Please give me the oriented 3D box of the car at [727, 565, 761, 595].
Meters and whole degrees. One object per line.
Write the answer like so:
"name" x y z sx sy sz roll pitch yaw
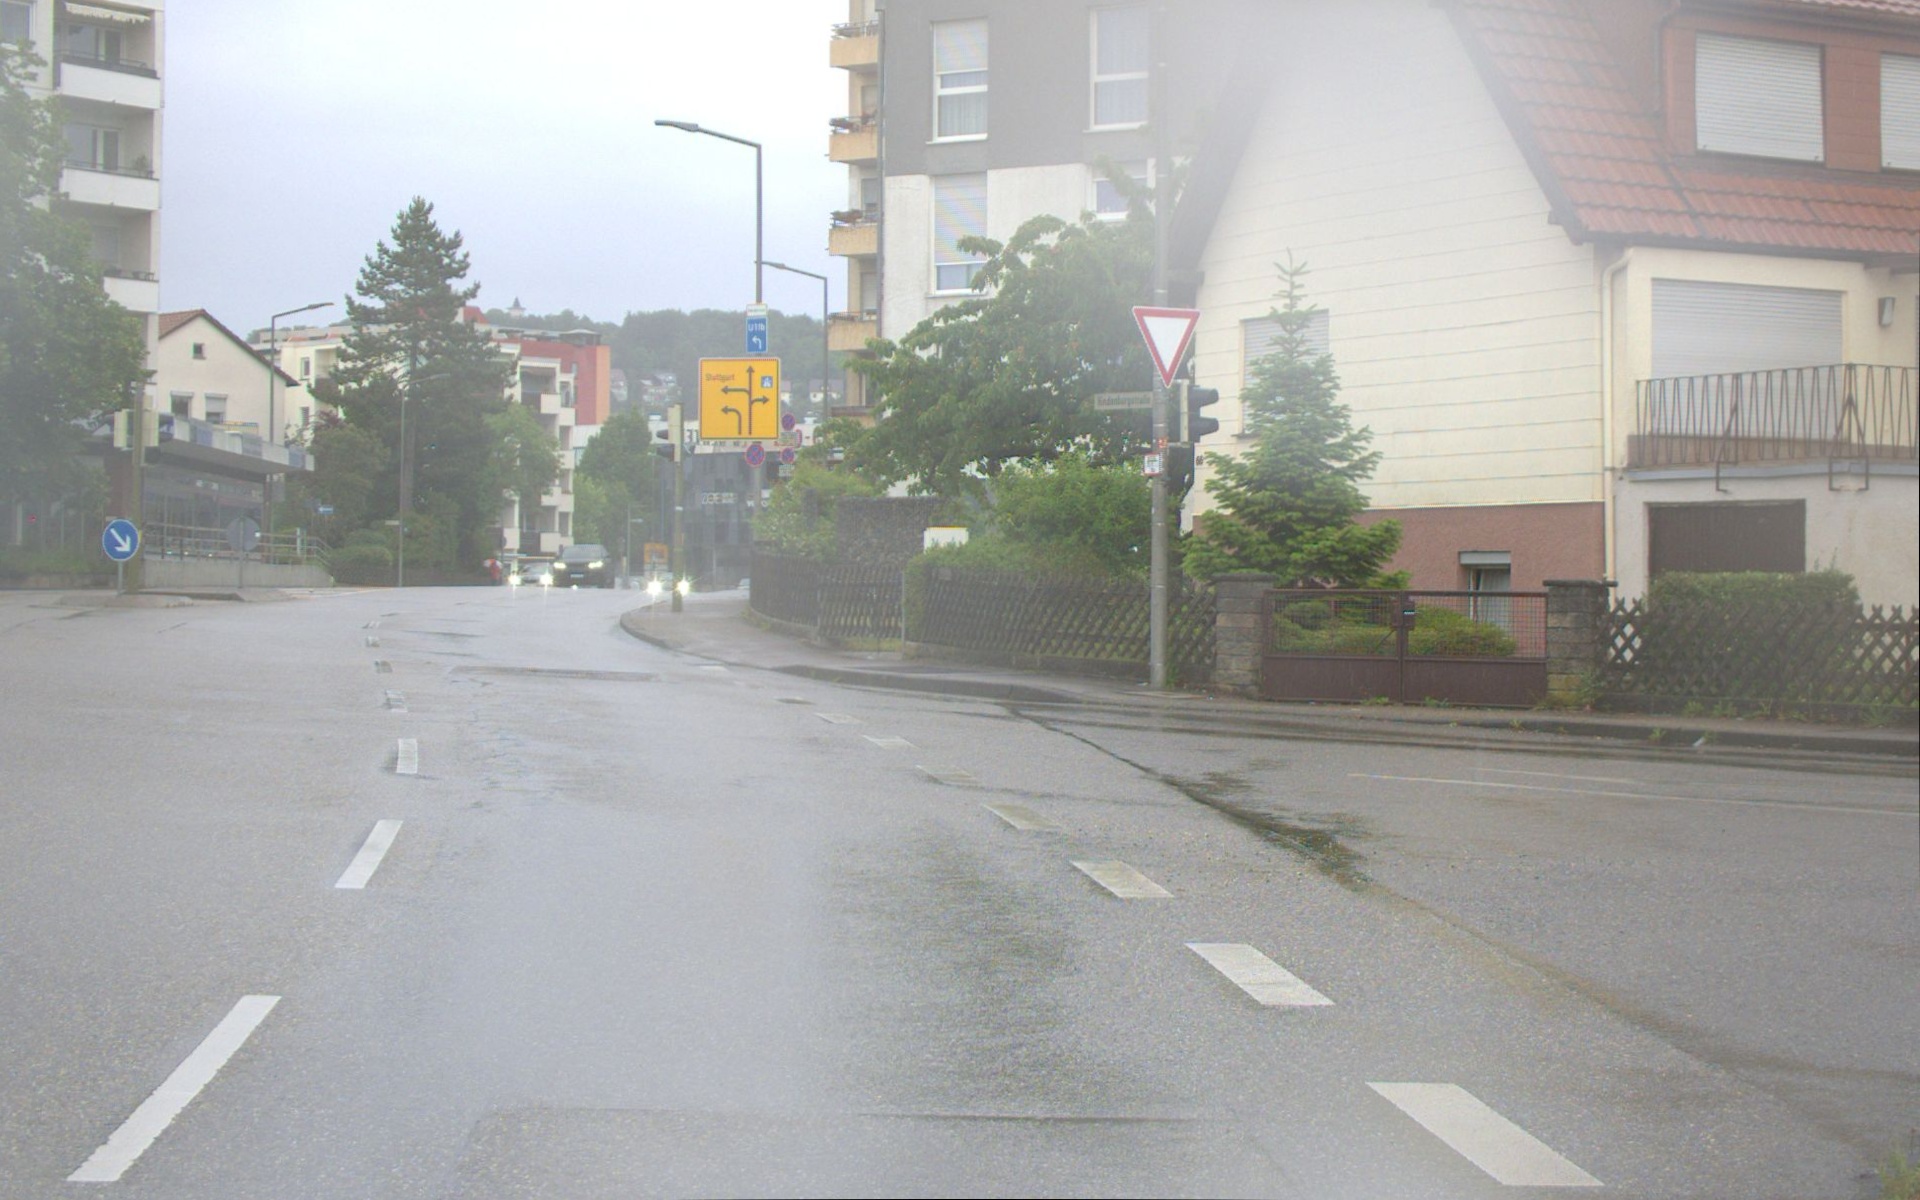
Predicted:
"car" -13.617 -1.258 216.196 1.993 1.805 4.001 1 1 -5

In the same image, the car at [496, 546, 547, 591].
"car" -18.879 -1.356 148.122 1.993 1.897 4.001 1 1 -5

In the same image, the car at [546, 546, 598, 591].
"car" -15.295 -1.250 135.386 1.993 1.731 5.182 1 1 -7

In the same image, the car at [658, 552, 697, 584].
"car" -14.880 -1.687 180.984 1.993 1.673 4.001 1 1 -5
